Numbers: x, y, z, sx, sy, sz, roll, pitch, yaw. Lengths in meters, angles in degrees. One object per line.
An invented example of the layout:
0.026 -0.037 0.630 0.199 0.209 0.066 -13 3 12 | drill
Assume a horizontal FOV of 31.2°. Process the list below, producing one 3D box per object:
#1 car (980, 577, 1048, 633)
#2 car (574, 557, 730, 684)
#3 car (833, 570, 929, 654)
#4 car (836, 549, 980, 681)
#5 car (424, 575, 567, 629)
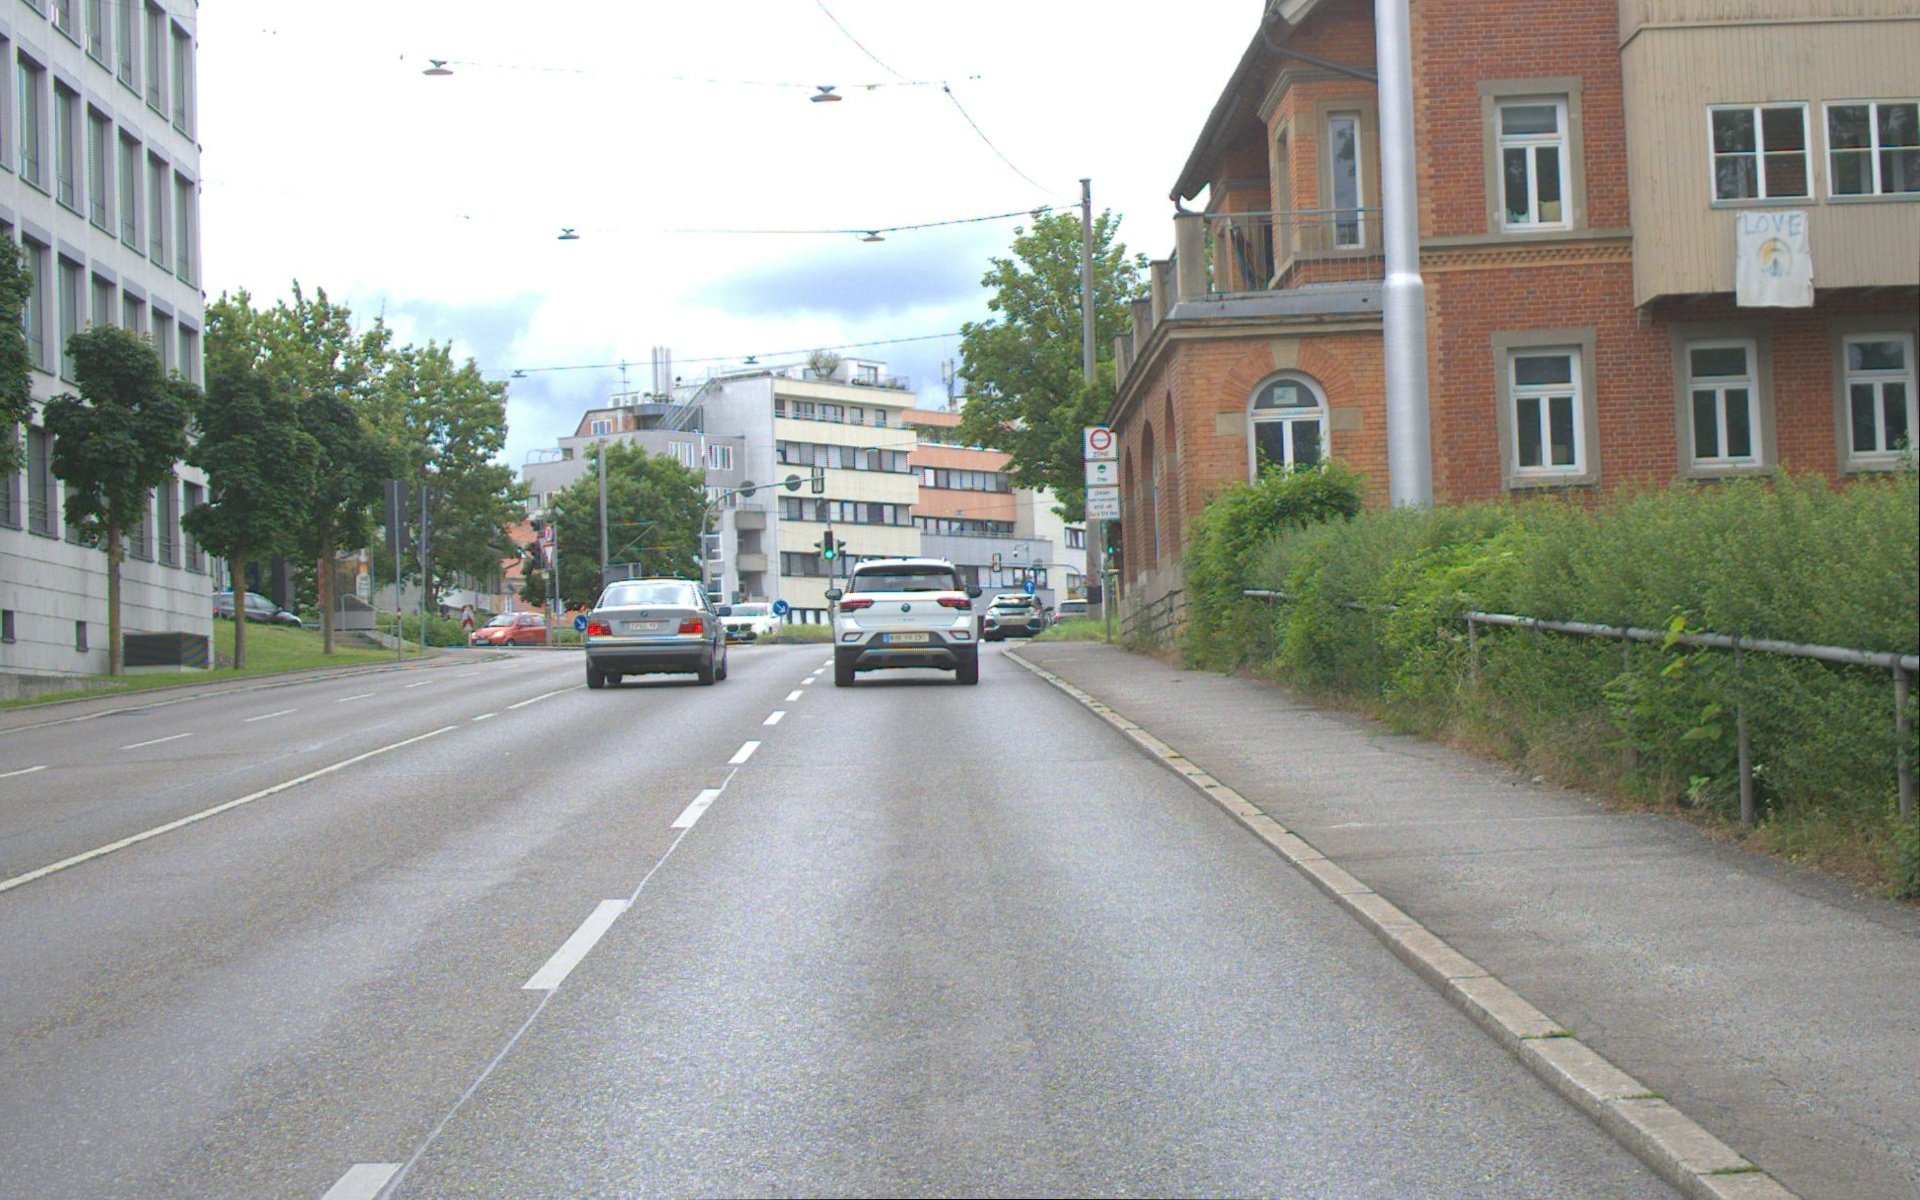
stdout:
1.632 0.129 102.683 1.770 1.565 4.284 -2 0 4 | car
-3.966 0.234 44.744 1.699 1.511 3.736 -2 1 -1 | car
-1.480 0.249 65.468 1.700 1.511 3.493 -1 -1 0 | car
-0.651 0.156 43.053 1.699 1.543 3.736 1 1 -1 | car
-13.909 0.049 103.089 1.780 1.539 3.990 -2 -1 43 | car
